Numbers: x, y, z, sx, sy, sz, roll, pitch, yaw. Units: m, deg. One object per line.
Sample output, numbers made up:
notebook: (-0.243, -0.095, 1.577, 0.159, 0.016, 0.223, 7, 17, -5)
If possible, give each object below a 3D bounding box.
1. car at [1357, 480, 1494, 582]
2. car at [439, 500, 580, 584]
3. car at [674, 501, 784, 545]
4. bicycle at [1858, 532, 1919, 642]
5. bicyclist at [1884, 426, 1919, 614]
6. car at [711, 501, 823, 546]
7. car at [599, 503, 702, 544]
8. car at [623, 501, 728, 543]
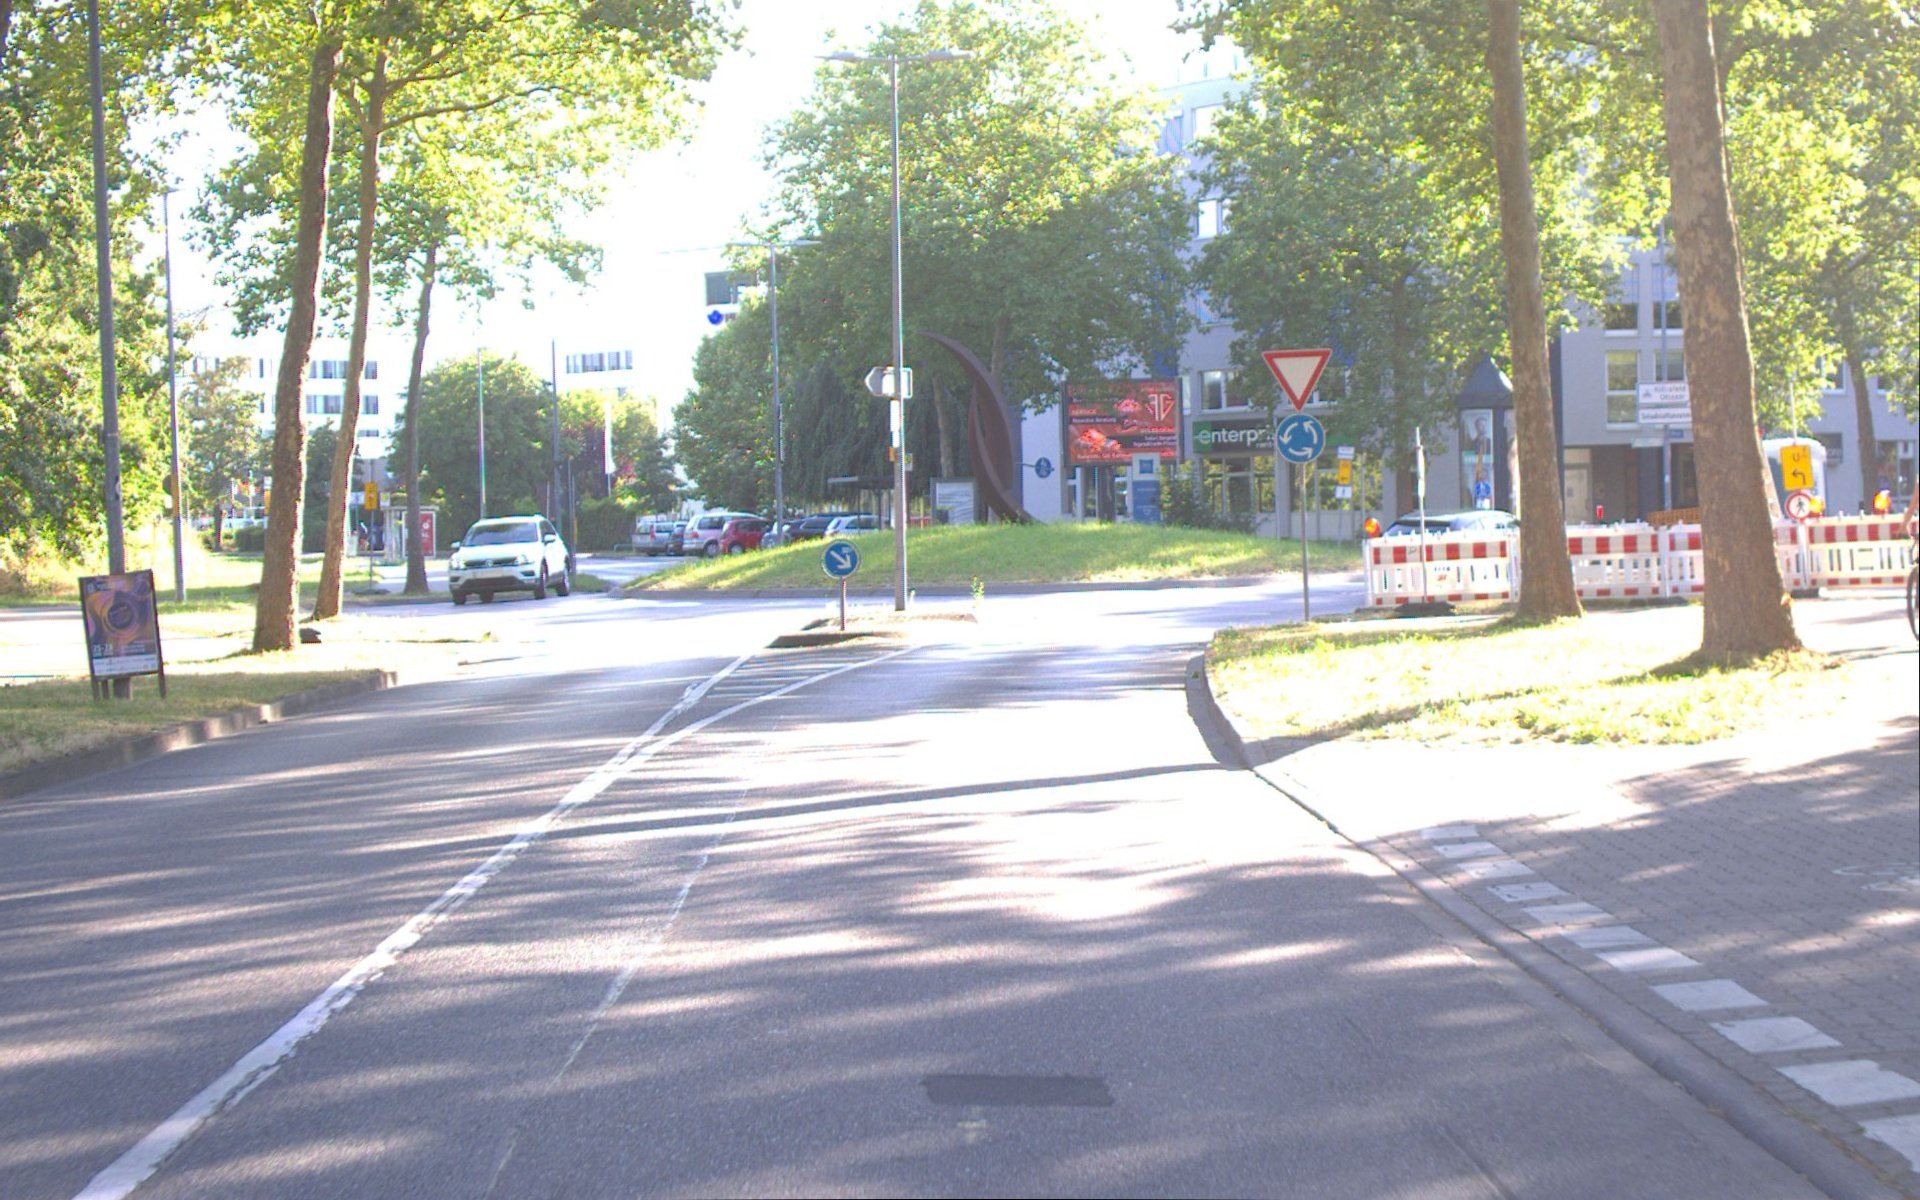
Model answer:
car: (7.775, -1.174, 57.163, 1.840, 1.600, 3.860, -1, 2, 14)
car: (-8.879, -1.172, 68.056, 1.994, 1.573, 4.000, -1, 2, 4)
car: (-9.169, -3.070, 136.613, 3.987, 1.741, 1.795, -1, 2, -30)
bicycle: (8.911, -0.134, 31.408, 0.770, 0.961, 2.174, -3, 1, -1)
bicyclist: (8.918, -0.737, 31.497, 0.651, 1.699, 0.871, 0, 2, 0)
car: (-7.533, -2.987, 134.073, 3.987, 1.741, 1.795, -1, 2, -30)
car: (-13.212, -3.275, 146.668, 3.987, 1.741, 1.795, -1, 2, -30)
car: (-11.974, -3.280, 144.711, 3.987, 1.741, 1.795, -1, 2, -30)
